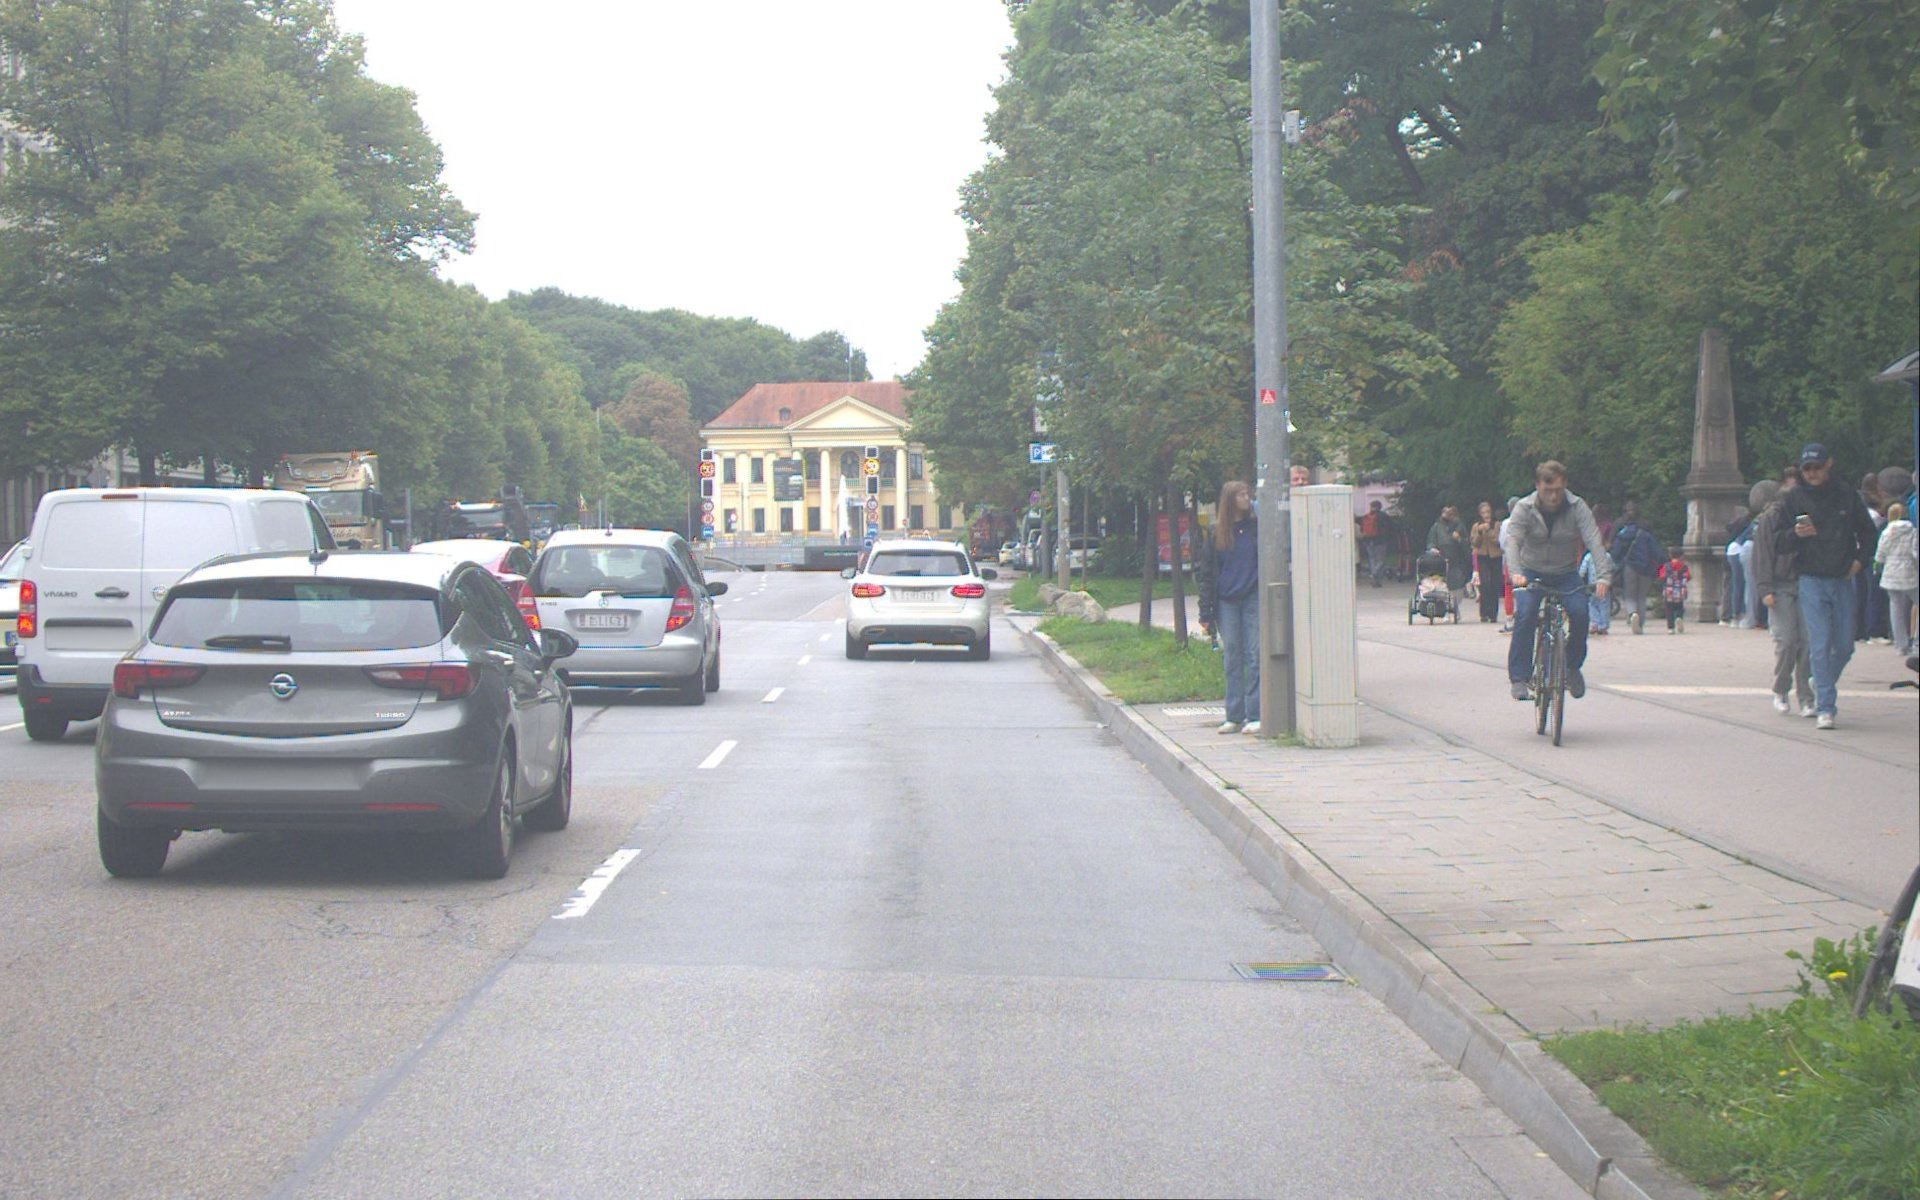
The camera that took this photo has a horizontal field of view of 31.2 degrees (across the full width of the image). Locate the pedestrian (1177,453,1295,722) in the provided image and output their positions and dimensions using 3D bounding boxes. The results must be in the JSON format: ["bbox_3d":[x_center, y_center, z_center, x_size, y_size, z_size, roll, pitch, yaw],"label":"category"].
[{"bbox_3d":[1.878,-0.087,23.466,0.708,1.802,0.639,1,0,-1],"label":"pedestrian"}]

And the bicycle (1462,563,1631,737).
[{"bbox_3d":[3.658,0.288,21.586,0.675,1.027,2.013,1,1,-1],"label":"bicycle"}]

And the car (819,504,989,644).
[{"bbox_3d":[-0.746,-0.337,43.137,1.779,1.639,4.001,1,1,-6],"label":"car"}]

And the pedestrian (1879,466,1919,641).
[{"bbox_3d":[9.878,-0.463,35.030,0.812,1.762,0.728,1,0,2],"label":"pedestrian"}]

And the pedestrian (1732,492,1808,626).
[{"bbox_3d":[10.277,-0.516,43.625,0.812,1.685,0.728,0,0,2],"label":"pedestrian"}]

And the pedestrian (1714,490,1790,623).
[{"bbox_3d":[10.228,-0.559,44.417,0.812,1.685,0.728,-1,0,2],"label":"pedestrian"}]

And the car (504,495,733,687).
[{"bbox_3d":[-3.122,-0.100,32.103,1.779,1.648,4.000,1,1,-1],"label":"car"}]

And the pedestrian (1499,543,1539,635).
[{"bbox_3d":[10.188,-0.198,62.649,0.632,1.661,0.572,1,0,15],"label":"pedestrian"}]

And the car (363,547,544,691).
[{"bbox_3d":[-6.148,0.197,42.112,1.779,1.648,4.000,1,1,-3],"label":"car"}]

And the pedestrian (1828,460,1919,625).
[{"bbox_3d":[10.122,-0.635,38.059,0.812,1.784,0.728,1,0,2],"label":"pedestrian"}]

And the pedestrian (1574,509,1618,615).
[{"bbox_3d":[8.057,-0.479,43.555,0.458,1.322,0.648,1,0,4],"label":"pedestrian"}]

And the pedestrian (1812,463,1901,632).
[{"bbox_3d":[10.321,-0.607,39.584,0.812,1.910,0.728,1,0,2],"label":"pedestrian"}]

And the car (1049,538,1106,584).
[{"bbox_3d":[4.110,-1.357,120.556,1.827,1.544,4.751,-1,0,0],"label":"car"}]

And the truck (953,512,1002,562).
[{"bbox_3d":[1.215,-4.397,242.502,3.325,3.355,8.662,1,1,0],"label":"truck"}]

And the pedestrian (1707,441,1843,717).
[{"bbox_3d":[5.432,-0.142,22.932,0.708,1.802,0.639,1,0,-1],"label":"pedestrian"}]

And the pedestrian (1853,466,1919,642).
[{"bbox_3d":[10.023,-0.485,36.619,0.812,1.845,0.728,1,0,2],"label":"pedestrian"}]

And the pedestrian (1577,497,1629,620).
[{"bbox_3d":[8.101,-0.521,43.323,0.549,1.522,0.648,1,0,4],"label":"pedestrian"}]

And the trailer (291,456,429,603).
[{"bbox_3d":[-16.341,-1.880,94.352,2.949,3.727,11.773,1,1,-6],"label":"trailer"}]

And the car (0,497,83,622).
[{"bbox_3d":[-21.164,-0.830,70.880,5.679,2.528,2.157,0,1,-4],"label":"car"}]

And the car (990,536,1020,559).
[{"bbox_3d":[2.679,-3.138,205.162,1.724,1.319,4.028,-1,0,0],"label":"car"}]

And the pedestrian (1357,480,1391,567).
[{"bbox_3d":[8.712,-1.610,72.356,0.588,1.816,0.850,1,0,0],"label":"pedestrian"}]

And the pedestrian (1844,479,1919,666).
[{"bbox_3d":[9.297,-0.271,34.167,0.812,1.823,0.728,1,0,2],"label":"pedestrian"}]

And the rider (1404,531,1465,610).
[{"bbox_3d":[6.781,-0.425,49.212,0.765,1.108,1.244,1,0,4],"label":"rider"}]

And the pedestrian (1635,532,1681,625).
[{"bbox_3d":[8.698,-0.269,42.867,0.458,1.149,0.648,1,0,4],"label":"pedestrian"}]

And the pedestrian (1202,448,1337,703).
[{"bbox_3d":[2.318,-0.188,25.775,0.805,1.874,0.543,2,0,36],"label":"pedestrian"}]

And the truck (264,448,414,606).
[{"bbox_3d":[-15.610,-1.806,86.839,2.915,3.762,7.667,1,1,-5],"label":"truck"}]

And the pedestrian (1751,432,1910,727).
[{"bbox_3d":[5.472,-0.129,21.648,0.708,1.802,0.950,1,0,-1],"label":"pedestrian"}]

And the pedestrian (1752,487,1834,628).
[{"bbox_3d":[10.136,-0.515,41.868,0.812,1.685,0.728,-1,0,2],"label":"pedestrian"}]

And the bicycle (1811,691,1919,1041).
[{"bbox_3d":[2.525,0.652,8.210,0.493,0.791,1.890,1,1,0],"label":"bicycle"}]

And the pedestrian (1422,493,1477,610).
[{"bbox_3d":[7.165,-0.714,50.352,0.726,1.685,0.648,1,0,4],"label":"pedestrian"}]

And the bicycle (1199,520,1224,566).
[{"bbox_3d":[5.773,-1.302,79.005,0.384,1.018,2.079,1,1,0],"label":"bicycle"}]

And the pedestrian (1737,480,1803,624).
[{"bbox_3d":[9.601,-0.565,40.759,0.591,1.685,0.728,1,0,2],"label":"pedestrian"}]

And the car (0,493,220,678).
[{"bbox_3d":[-9.054,-0.164,35.317,1.857,1.742,4.630,-2,1,0],"label":"car"}]

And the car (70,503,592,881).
[{"bbox_3d":[-2.849,0.366,16.399,1.710,1.547,4.000,1,1,0],"label":"car"}]

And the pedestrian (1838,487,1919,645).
[{"bbox_3d":[10.039,-0.368,37.336,0.812,1.685,0.673,1,0,2],"label":"pedestrian"}]

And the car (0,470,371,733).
[{"bbox_3d":[-5.901,-0.002,26.677,1.898,1.841,4.956,0,0,-1],"label":"car"}]

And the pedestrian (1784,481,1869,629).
[{"bbox_3d":[10.351,-0.533,41.066,0.812,1.733,0.728,1,0,2],"label":"pedestrian"}]

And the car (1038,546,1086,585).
[{"bbox_3d":[3.913,-1.321,132.368,1.724,1.459,4.776,-1,0,0],"label":"car"}]

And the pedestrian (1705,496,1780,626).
[{"bbox_3d":[10.331,-0.519,45.401,0.812,1.685,0.728,1,0,2],"label":"pedestrian"}]

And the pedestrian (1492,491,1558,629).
[{"bbox_3d":[7.011,-0.499,42.703,0.726,1.685,0.648,1,0,5],"label":"pedestrian"}]

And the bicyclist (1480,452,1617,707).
[{"bbox_3d":[3.666,-0.127,21.463,0.708,1.556,0.639,1,0,-1],"label":"bicyclist"}]

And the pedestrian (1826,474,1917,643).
[{"bbox_3d":[10.288,-0.471,38.813,0.812,1.868,0.728,1,0,2],"label":"pedestrian"}]
